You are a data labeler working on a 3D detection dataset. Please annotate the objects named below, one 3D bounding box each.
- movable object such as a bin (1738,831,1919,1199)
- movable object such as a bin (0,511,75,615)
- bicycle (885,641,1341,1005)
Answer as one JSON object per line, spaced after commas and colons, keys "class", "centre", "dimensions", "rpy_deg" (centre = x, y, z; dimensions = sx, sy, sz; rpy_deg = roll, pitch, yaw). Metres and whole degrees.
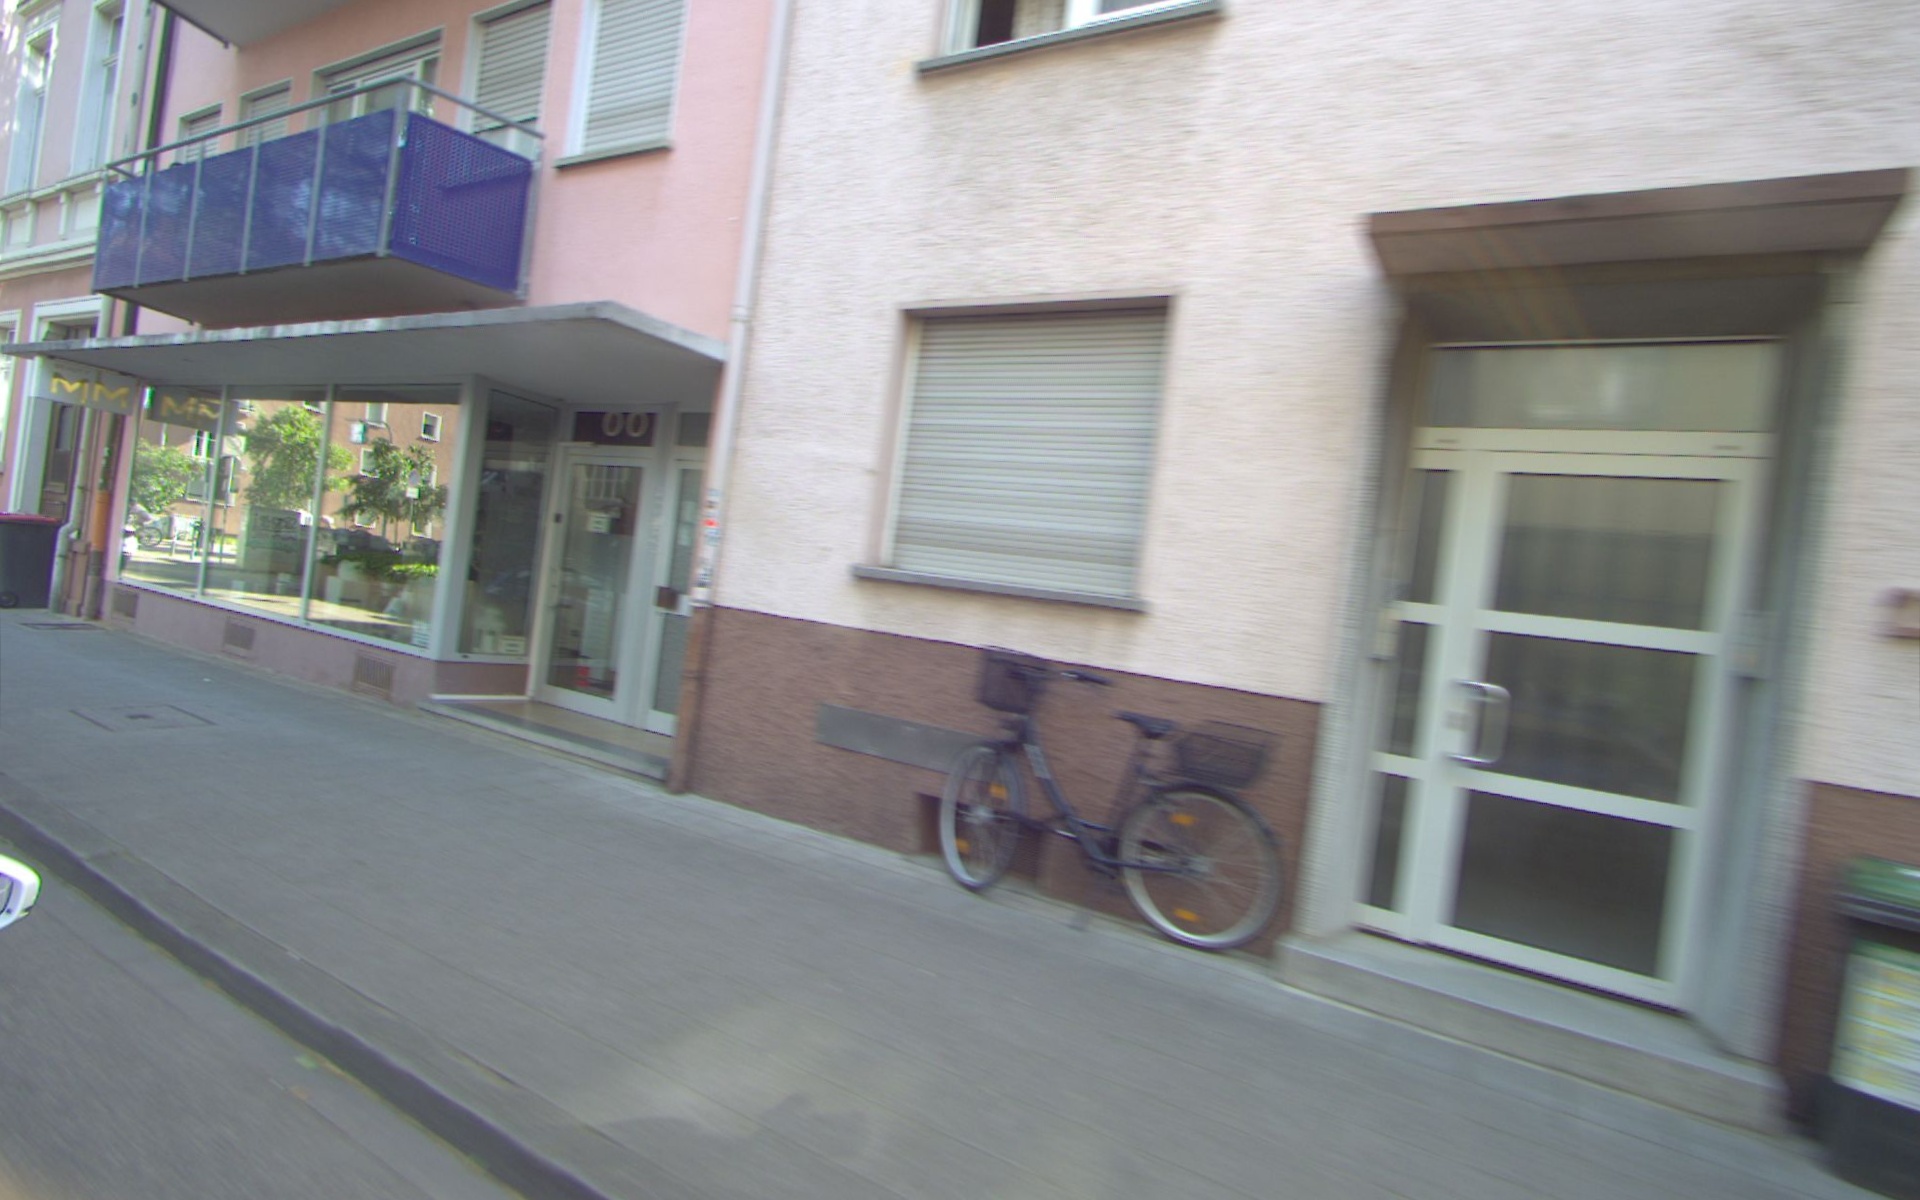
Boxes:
{"class": "movable object such as a bin", "centre": [2.802, 1.263, 2.960], "dimensions": [0.671, 0.963, 0.598], "rpy_deg": [6, 0, 33]}
{"class": "movable object such as a bin", "centre": [-10.880, -0.437, 11.613], "dimensions": [0.681, 1.117, 0.731], "rpy_deg": [6, 0, 30]}
{"class": "bicycle", "centre": [0.598, 0.867, 4.467], "dimensions": [1.889, 1.149, 0.453], "rpy_deg": [7, 2, 34]}
